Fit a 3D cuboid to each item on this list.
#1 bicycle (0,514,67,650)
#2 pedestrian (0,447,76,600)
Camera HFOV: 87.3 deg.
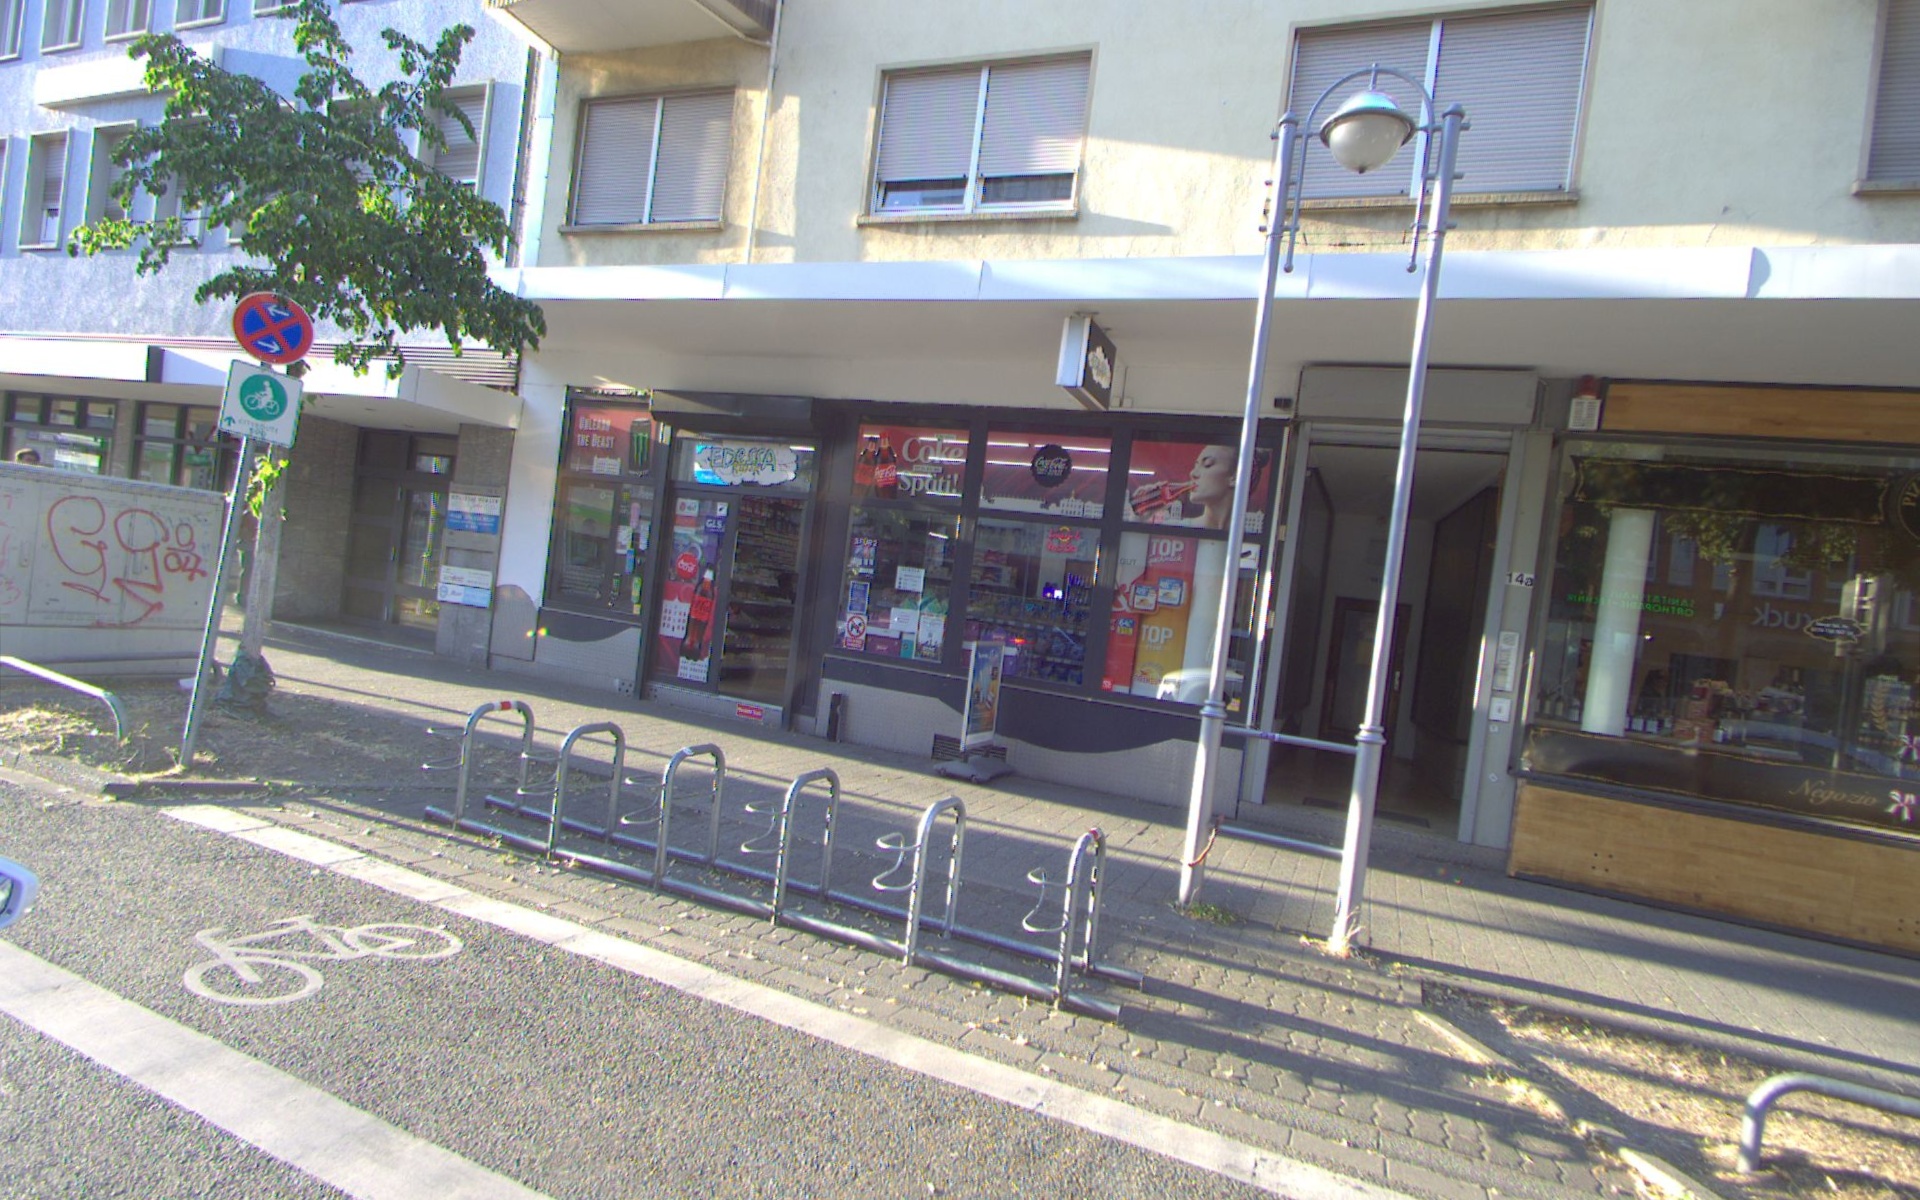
[{"bbox_3d":[-9.169,-0.217,9.134,0.376,1.234,1.446,7,-1,25],"label":"bicycle"},{"bbox_3d":[-12.198,-0.992,12.999,0.666,1.865,0.837,7,1,24],"label":"pedestrian"}]
